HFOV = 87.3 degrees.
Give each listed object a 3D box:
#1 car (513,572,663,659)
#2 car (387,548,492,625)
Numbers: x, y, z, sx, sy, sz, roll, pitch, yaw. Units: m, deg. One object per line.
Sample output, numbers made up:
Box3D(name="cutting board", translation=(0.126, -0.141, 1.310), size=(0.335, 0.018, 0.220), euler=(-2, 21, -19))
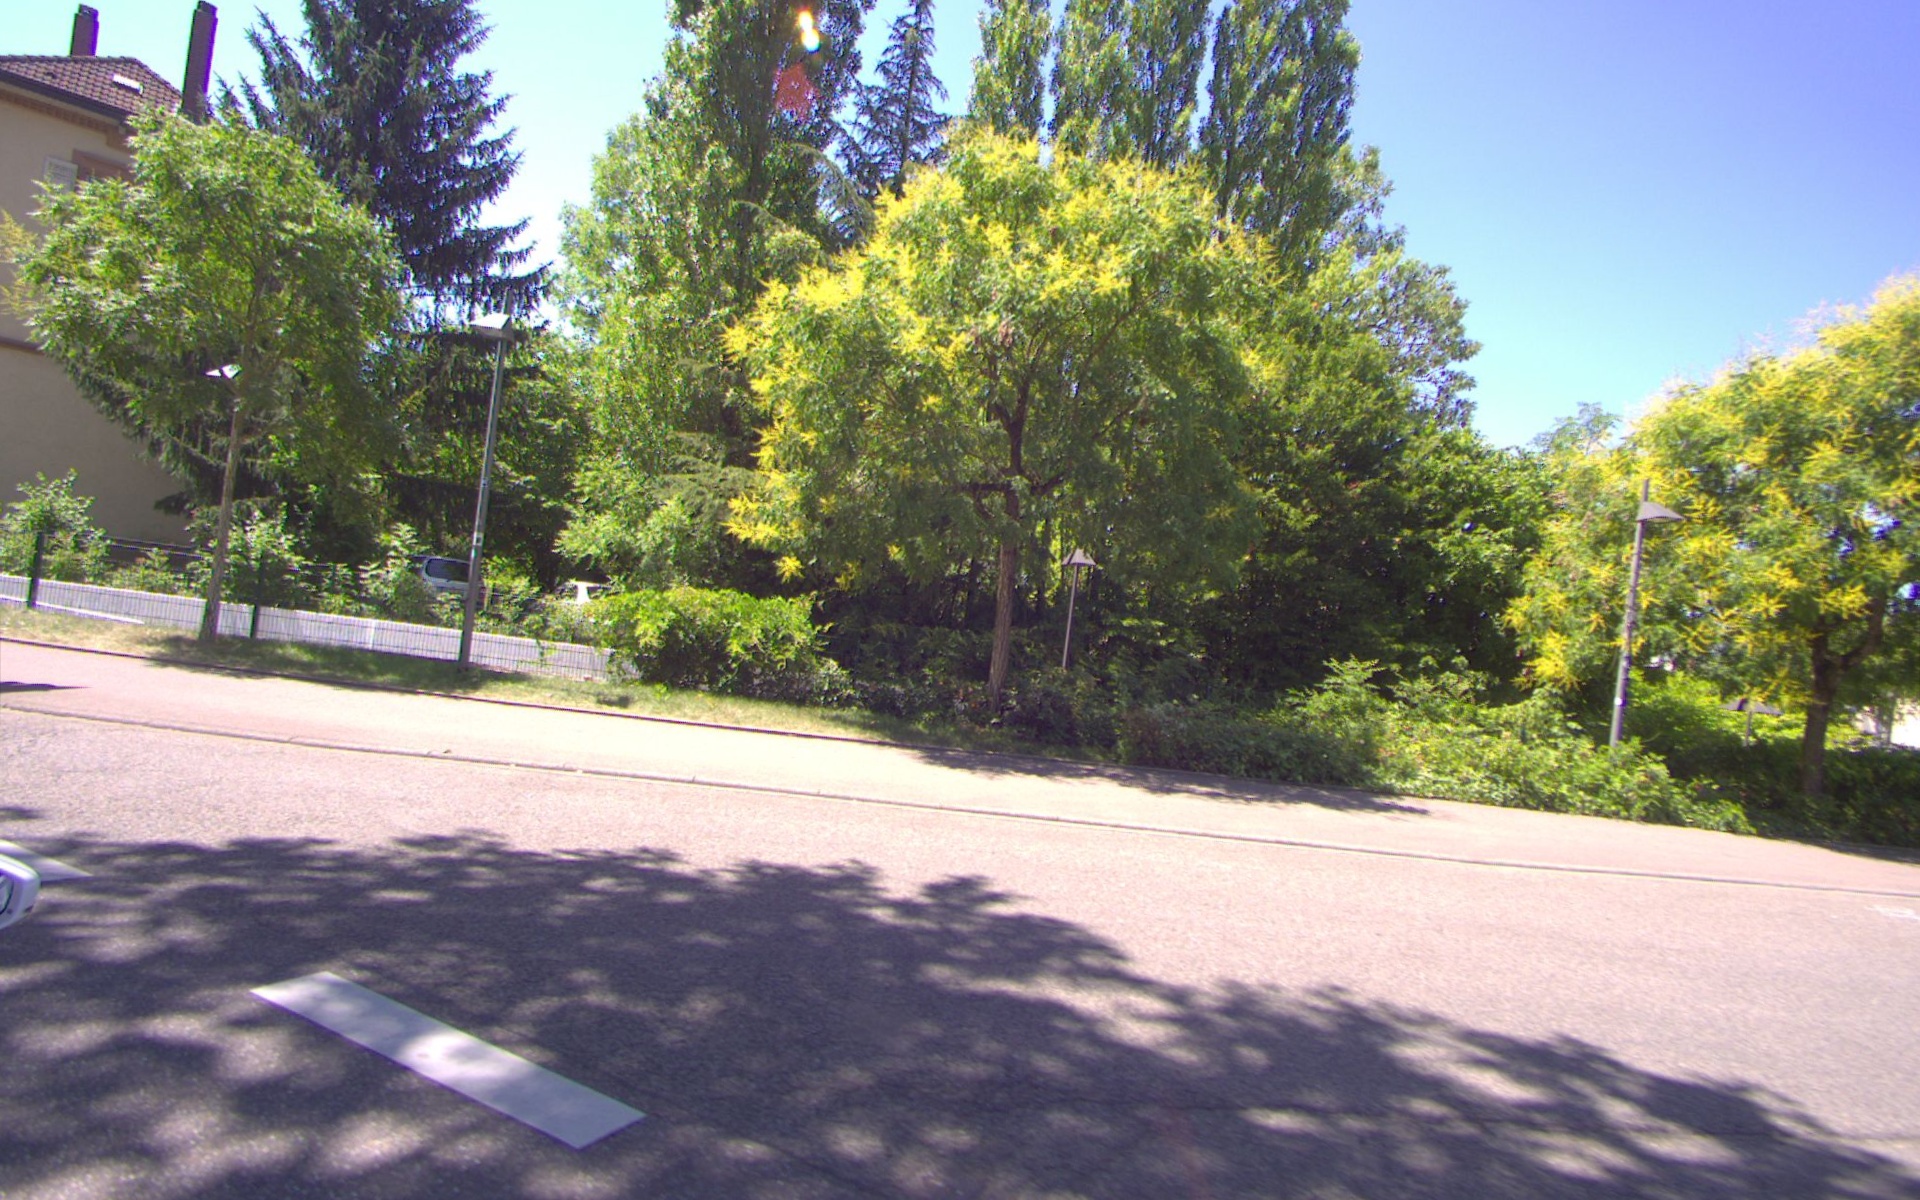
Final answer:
Box3D(name="car", translation=(-8.663, 0.309, 23.203), size=(1.757, 1.517, 4.451), euler=(8, -2, -39))
Box3D(name="car", translation=(-13.044, -0.370, 25.108), size=(1.641, 1.554, 3.932), euler=(8, -2, -35))
